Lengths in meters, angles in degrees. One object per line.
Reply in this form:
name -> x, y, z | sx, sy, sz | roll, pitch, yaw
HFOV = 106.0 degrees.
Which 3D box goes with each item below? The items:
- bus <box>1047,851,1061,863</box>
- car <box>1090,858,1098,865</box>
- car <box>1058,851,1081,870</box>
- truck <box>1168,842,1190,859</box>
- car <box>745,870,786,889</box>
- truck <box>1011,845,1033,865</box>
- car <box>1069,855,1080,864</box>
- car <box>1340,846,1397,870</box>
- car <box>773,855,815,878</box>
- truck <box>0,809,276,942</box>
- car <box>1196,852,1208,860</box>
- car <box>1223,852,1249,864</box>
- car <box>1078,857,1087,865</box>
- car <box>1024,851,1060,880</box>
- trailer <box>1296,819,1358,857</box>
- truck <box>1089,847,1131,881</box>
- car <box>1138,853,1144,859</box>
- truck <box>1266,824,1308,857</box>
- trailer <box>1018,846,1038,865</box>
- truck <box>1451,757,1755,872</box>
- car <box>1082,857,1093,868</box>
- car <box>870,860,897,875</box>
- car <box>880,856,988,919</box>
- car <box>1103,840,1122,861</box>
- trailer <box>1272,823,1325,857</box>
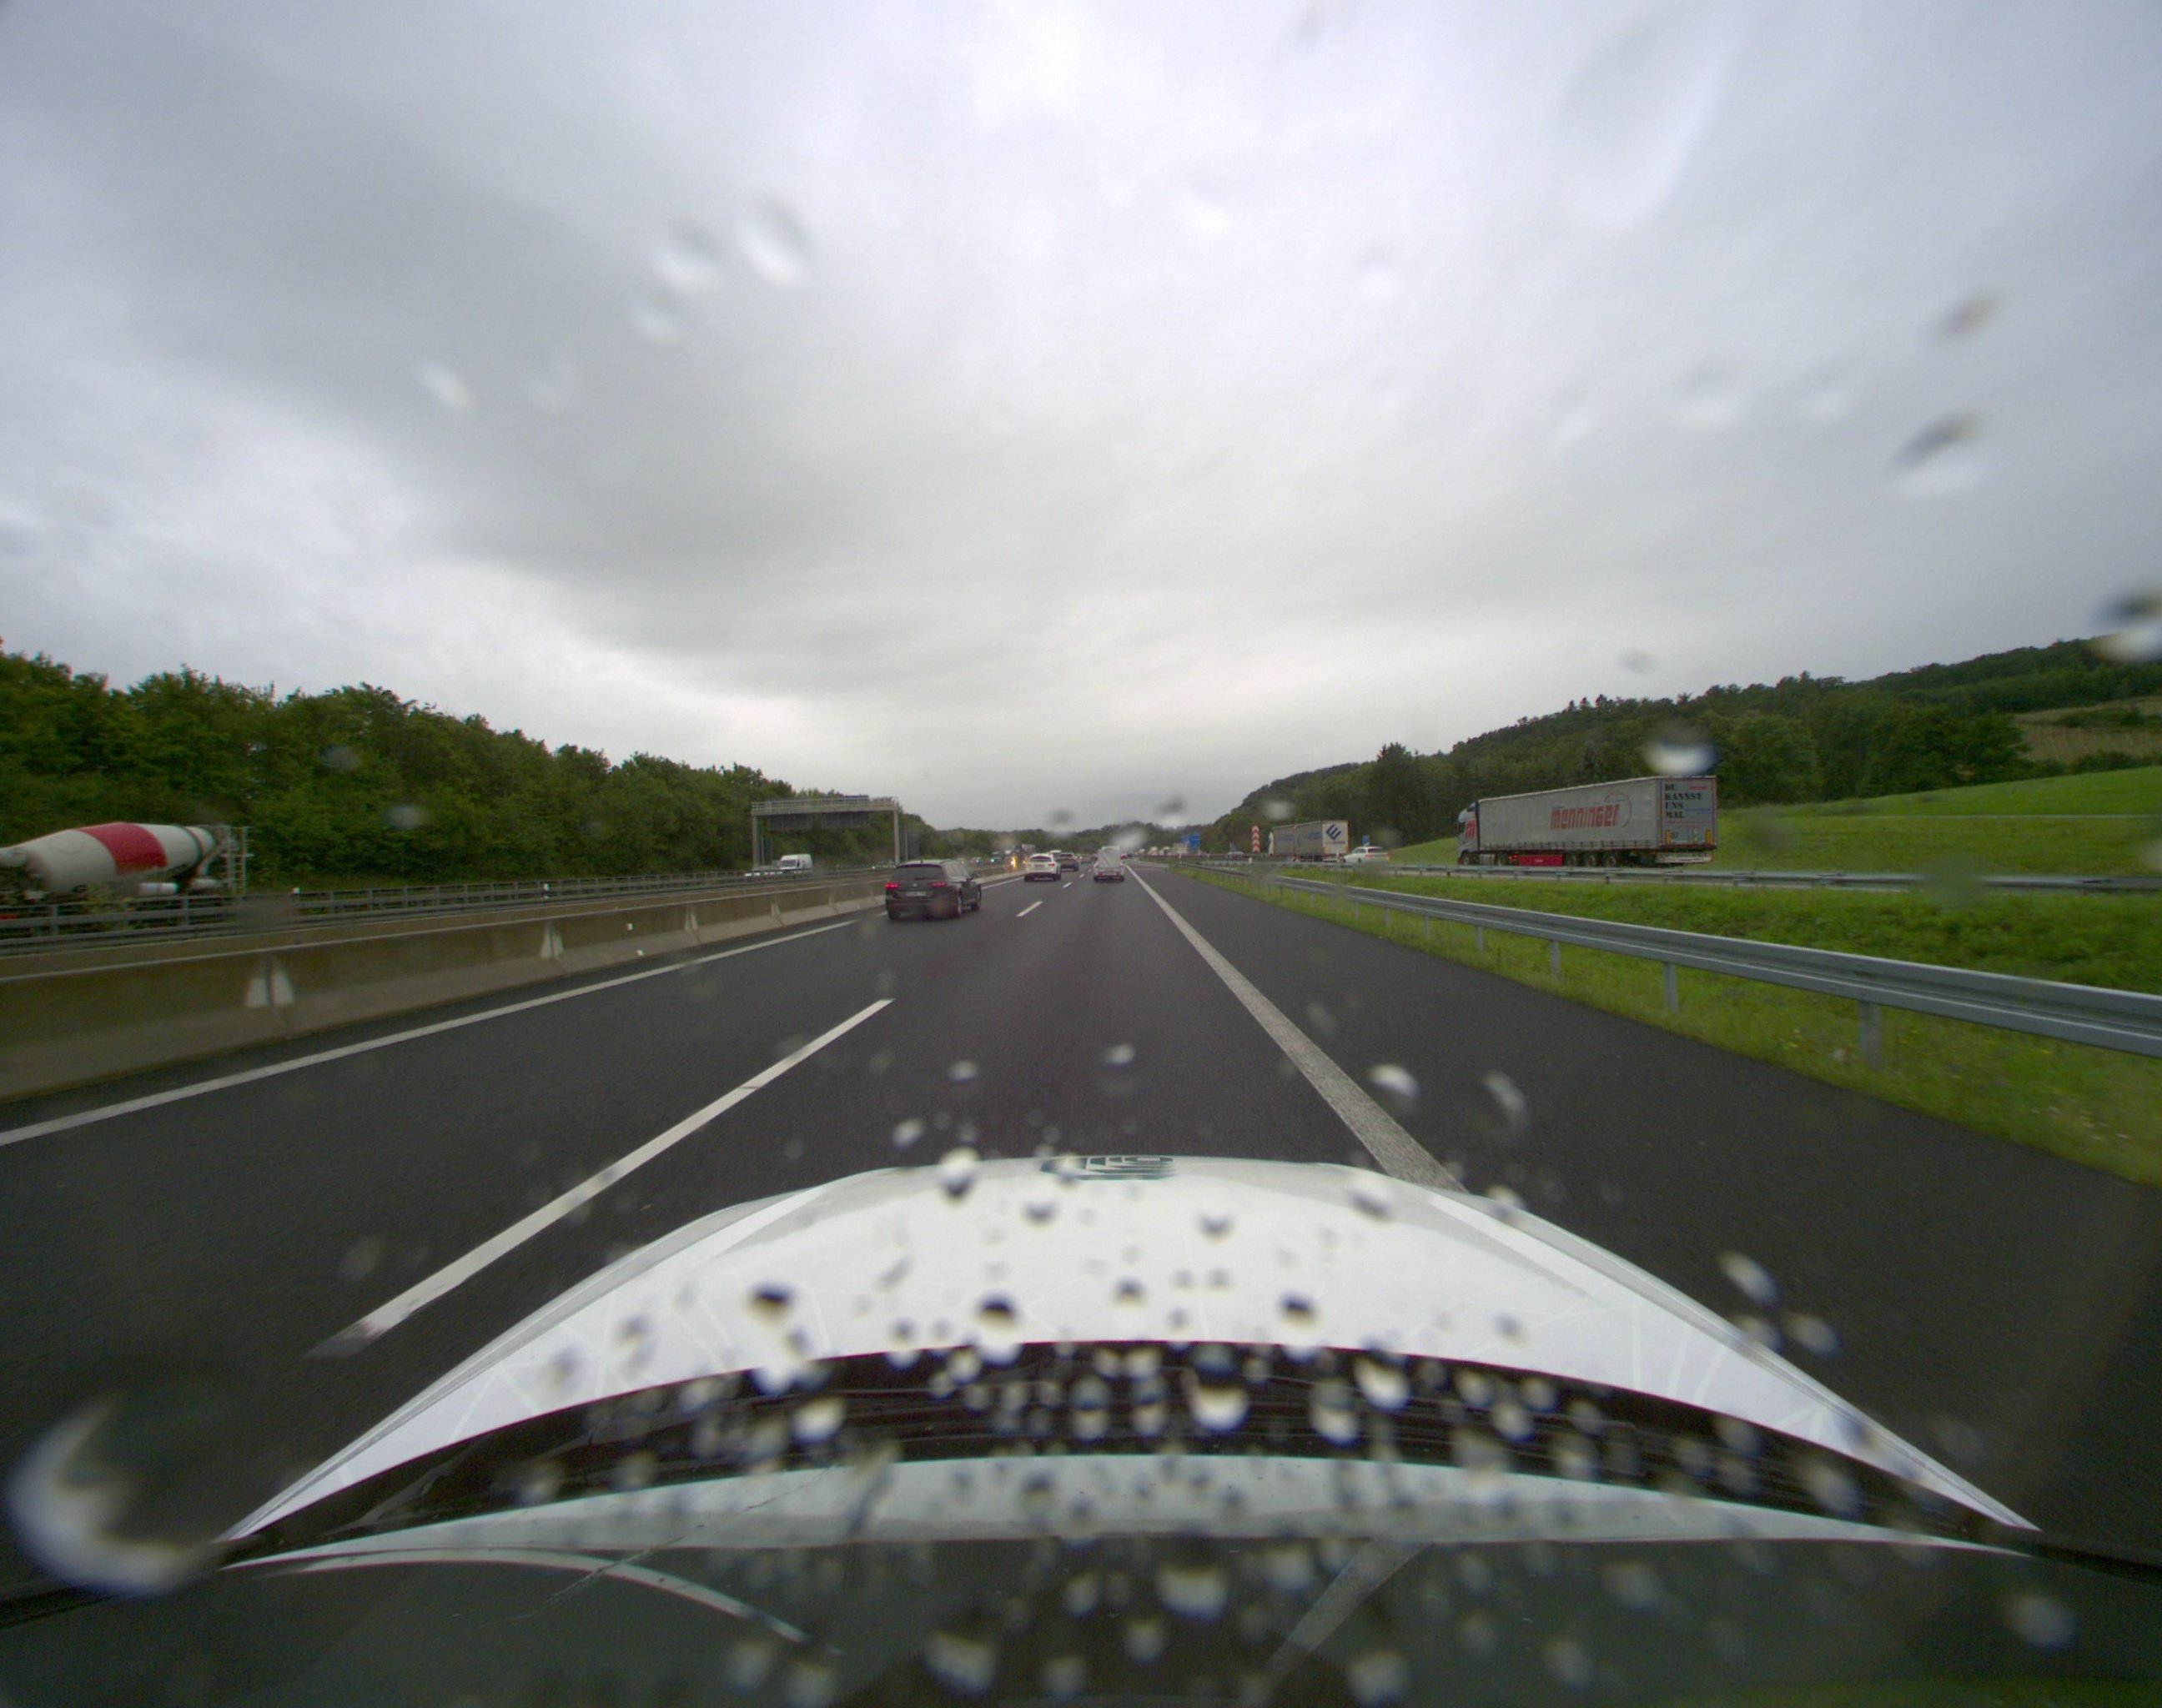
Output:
bus -> -6.063, 0.638, 183.751 | 2.531, 2.586, 8.275 | 0, 0, 2
car -> 2.890, 1.601, 180.188 | 1.638, 1.574, 4.003 | 0, 0, 3
car -> -1.054, 0.624, 76.708 | 1.968, 1.703, 4.805 | -1, 0, 2
truck -> 21.856, -0.778, 182.388 | 3.814, 3.659, 8.267 | 0, 0, -1
car -> -25.267, 2.030, 65.349 | 1.583, 1.425, 3.921 | -1, 0, 3
truck -> -10.619, 0.242, 148.285 | 2.797, 3.524, 10.648 | 0, 0, 3
car -> -1.312, 1.049, 158.967 | 1.812, 1.662, 4.020 | -2, 0, 3
car -> 20.246, 0.289, 57.612 | 1.989, 1.616, 5.072 | -2, 0, -4
car -> -28.907, 1.201, 82.150 | 1.986, 2.213, 5.718 | -2, 0, 2
truck -> -31.055, 0.634, 25.102 | 2.675, 3.661, 9.561 | -2, 0, 2
car -> 21.787, 0.348, 146.276 | 1.691, 1.288, 3.536 | 0, 0, 2
car -> 18.772, 0.436, 98.688 | 1.981, 1.377, 5.315 | -1, 1, -2
car -> 0.303, 1.398, 172.877 | 1.812, 1.662, 4.020 | -2, 0, 3
car -> -2.371, 0.650, 49.107 | 2.044, 1.670, 4.536 | -1, 0, -3
trailer -> 23.684, -1.445, 78.874 | 3.072, 3.527, 8.072 | 0, 0, -4
truck -> 1.663, 0.542, 47.405 | 2.234, 1.839, 6.587 | 0, 0, 2
car -> 17.150, 0.574, 231.699 | 1.638, 1.574, 4.003 | 0, 0, 3
truck -> 22.973, -1.445, 91.172 | 2.931, 3.527, 5.922 | 0, 0, -2
trailer -> -10.225, 0.245, 157.719 | 2.931, 3.516, 8.055 | 0, 0, 2
truck -> 24.866, -1.542, 41.199 | 3.812, 4.540, 16.867 | -1, 0, -3
car -> 1.170, 1.419, 139.449 | 1.731, 1.794, 4.002 | -1, 0, 2
car -> -24.337, 1.687, 100.599 | 1.986, 1.737, 4.584 | -2, 0, 1
car -> -3.757, 0.812, 21.682 | 1.780, 1.459, 4.805 | -1, 0, 2
car -> 4.255, -0.523, 110.853 | 2.323, 2.725, 6.540 | -1, 1, 1
trailer -> 23.141, -1.416, 87.084 | 2.932, 3.527, 8.408 | 0, 0, -4
